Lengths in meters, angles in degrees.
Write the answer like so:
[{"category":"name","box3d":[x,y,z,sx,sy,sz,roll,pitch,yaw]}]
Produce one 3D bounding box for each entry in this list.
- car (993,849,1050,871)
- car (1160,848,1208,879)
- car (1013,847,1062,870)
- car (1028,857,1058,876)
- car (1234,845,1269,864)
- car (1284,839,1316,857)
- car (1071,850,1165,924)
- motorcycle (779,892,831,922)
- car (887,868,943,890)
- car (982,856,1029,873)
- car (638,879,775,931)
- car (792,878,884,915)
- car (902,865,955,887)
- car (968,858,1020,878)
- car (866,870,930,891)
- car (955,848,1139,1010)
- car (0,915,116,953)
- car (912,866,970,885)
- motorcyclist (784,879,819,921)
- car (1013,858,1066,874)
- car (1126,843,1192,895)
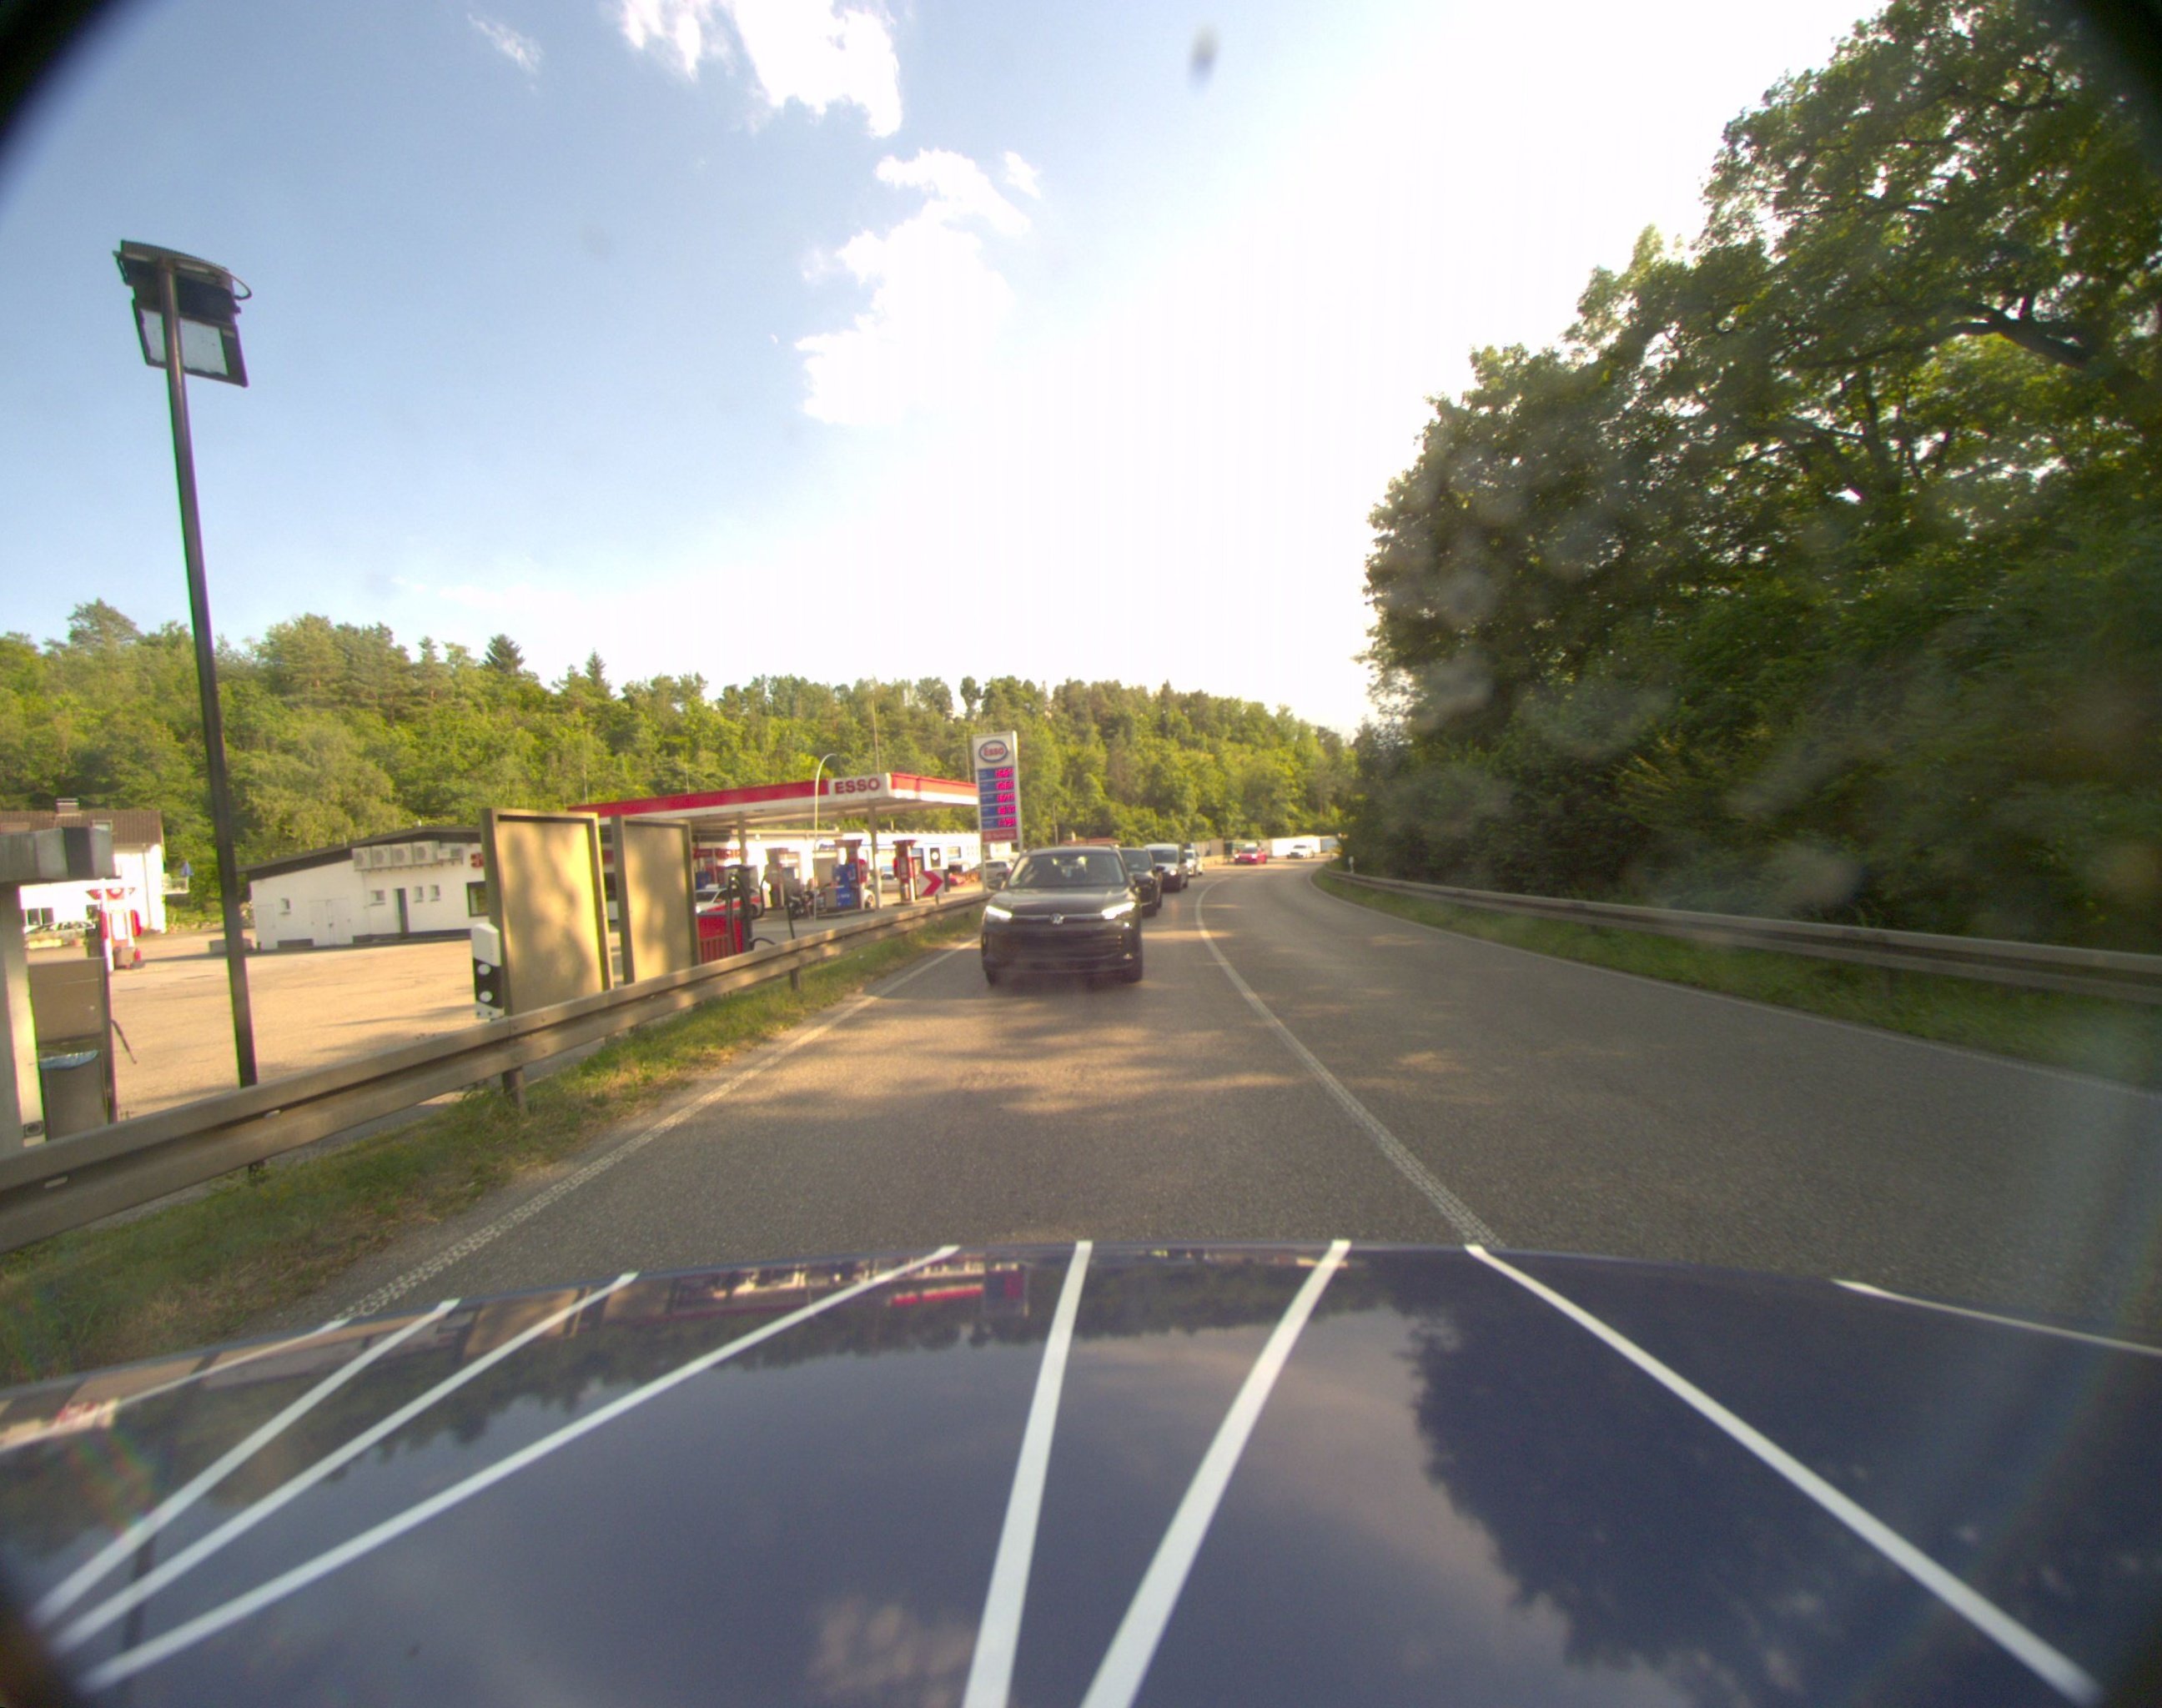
[{"category":"car","box3d":[-6.327,0.635,81.073,5.481,2.261,2.297,-1,1,15]},{"category":"car","box3d":[5.765,0.511,42.186,1.894,1.437,4.480,-4,0,17]},{"category":"car","box3d":[-4.861,0.468,84.633,4.915,2.435,2.209,-1,1,13]},{"category":"car","box3d":[-3.369,1.122,68.398,1.793,1.587,3.991,-1,1,11]},{"category":"car","box3d":[13.798,0.026,61.460,1.856,1.412,4.425,-1,1,25]},{"category":"car","box3d":[22.035,-0.618,76.228,1.912,1.457,4.544,-4,0,31]},{"category":"car","box3d":[1.046,0.725,18.936,1.847,1.561,4.260,-2,1,9]},{"category":"motorcycle","box3d":[-11.283,2.162,31.195,0.763,1.006,2.343,-3,1,14]},{"category":"car","box3d":[-12.292,1.830,56.330,3.555,1.398,1.692,-3,1,15]},{"category":"car","box3d":[-7.541,1.059,76.468,4.246,1.601,1.896,-2,1,15]},{"category":"car","box3d":[-15.097,2.020,31.085,2.095,1.618,5.185,-3,0,14]},{"category":"car","box3d":[-11.006,1.878,34.735,1.845,1.311,4.394,-3,0,15]},{"category":"car","box3d":[-11.736,1.707,58.487,3.549,1.437,1.735,-3,1,15]},{"category":"car","box3d":[-7.758,1.229,67.901,4.254,1.719,1.893,-1,1,12]},{"category":"car","box3d":[-12.929,1.877,53.840,3.963,1.347,1.778,-2,1,11]},{"category":"car","box3d":[-0.189,0.778,10.131,1.859,1.630,4.442,-2,0,4]},{"category":"car","box3d":[-65.128,5.029,47.841,2.694,1.826,5.175,-4,0,41]},{"category":"car","box3d":[-11.167,1.709,60.541,4.072,1.340,1.896,-1,1,15]},{"category":"motorcyclist","box3d":[-11.368,1.863,30.959,0.859,1.595,0.928,-3,1,14]},{"category":"car","box3d":[-4.004,1.143,73.518,4.727,1.426,1.959,-1,1,13]},{"category":"car","box3d":[3.103,0.508,29.290,1.866,1.711,4.767,-1,2,14]}]
